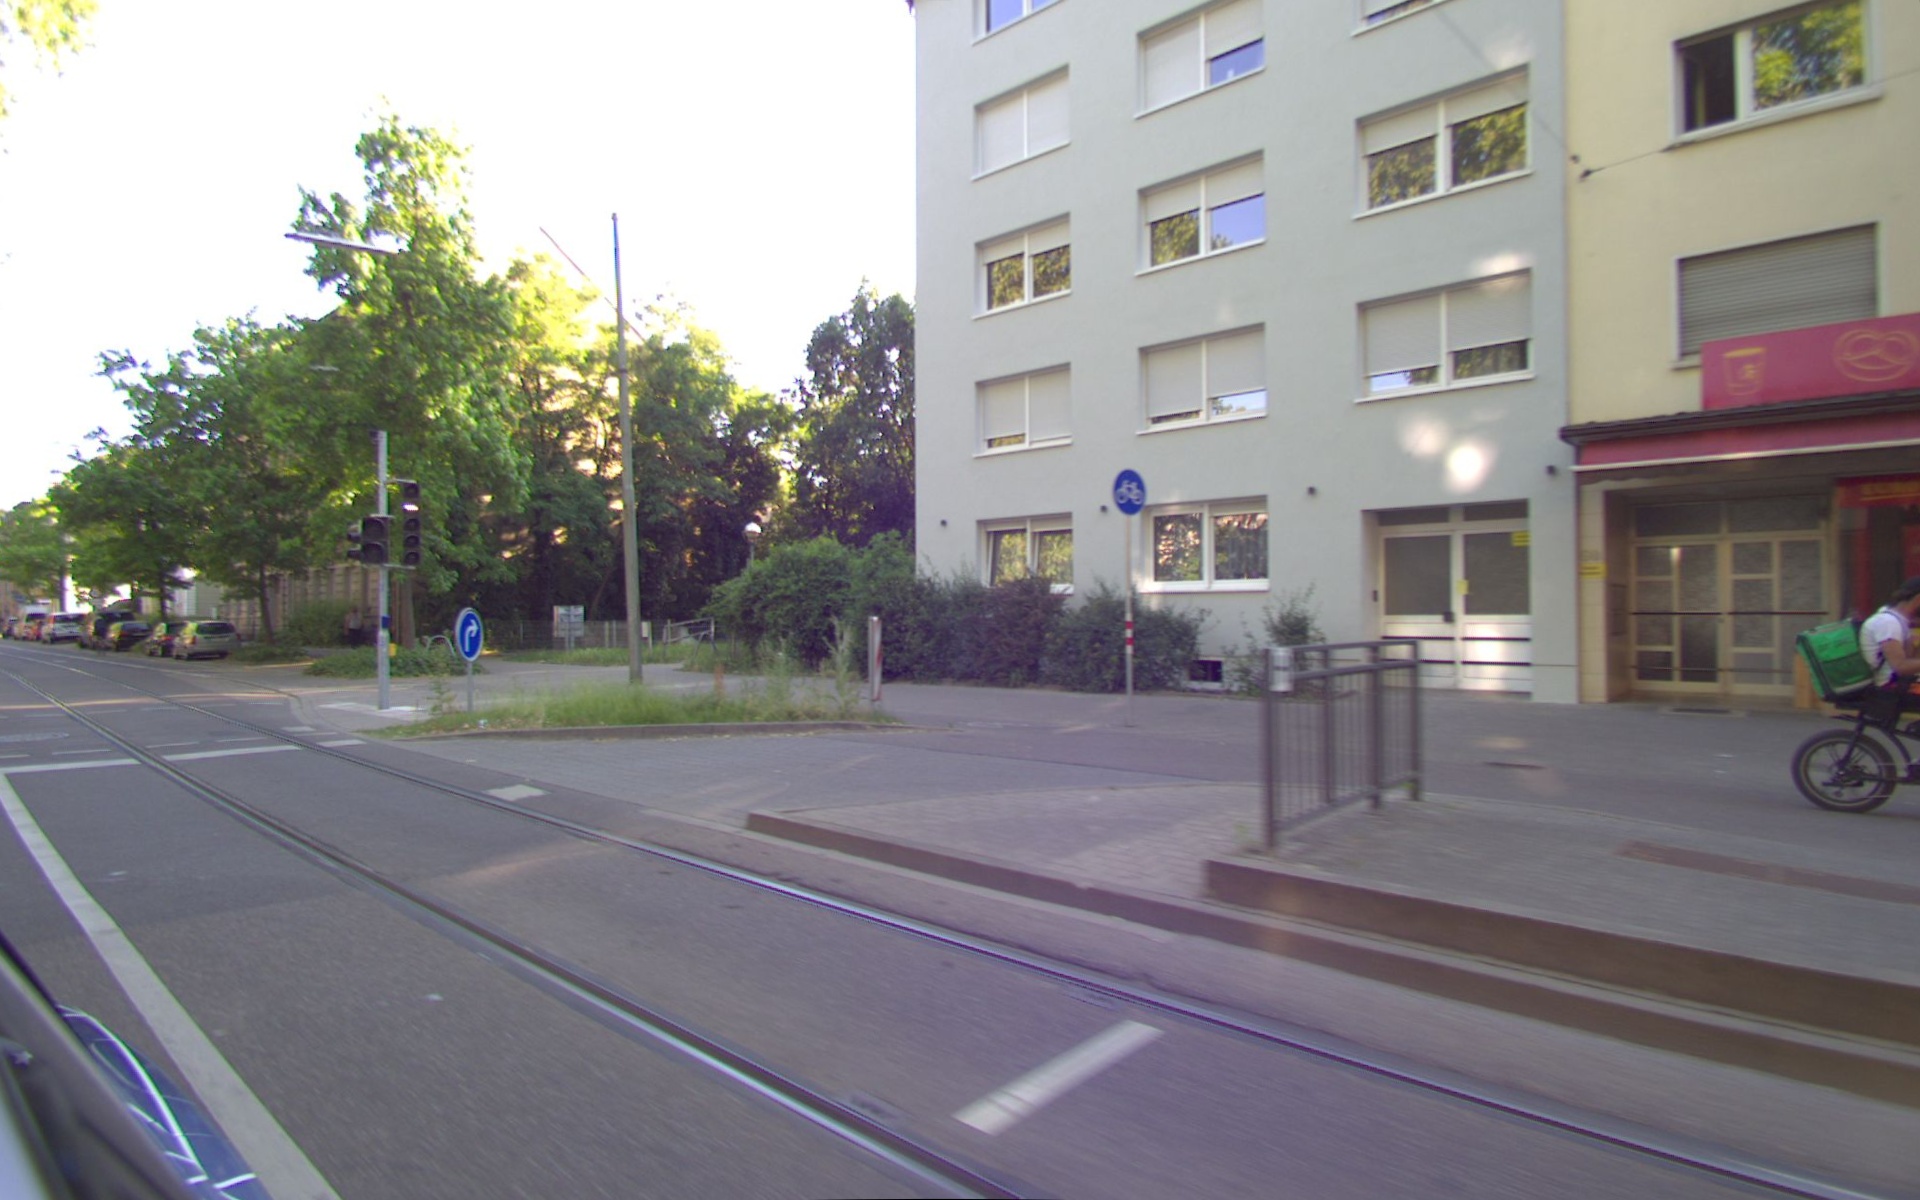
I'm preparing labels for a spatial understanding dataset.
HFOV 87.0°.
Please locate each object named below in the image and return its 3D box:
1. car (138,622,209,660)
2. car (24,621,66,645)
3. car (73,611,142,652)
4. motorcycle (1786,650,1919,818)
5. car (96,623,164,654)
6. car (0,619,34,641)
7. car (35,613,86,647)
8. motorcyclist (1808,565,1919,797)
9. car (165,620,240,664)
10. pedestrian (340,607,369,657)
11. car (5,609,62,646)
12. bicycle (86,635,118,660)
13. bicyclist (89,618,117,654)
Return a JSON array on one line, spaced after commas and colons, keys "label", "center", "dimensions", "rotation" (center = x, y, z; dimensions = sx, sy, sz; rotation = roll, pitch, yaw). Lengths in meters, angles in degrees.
[{"label": "car", "center": [-33.006, 1.693, 42.432], "dimensions": [3.947, 1.456, 1.641], "rotation": [-1, -1, 41]}, {"label": "car", "center": [-62.723, 2.242, 69.353], "dimensions": [3.705, 1.551, 1.667], "rotation": [-1, -2, 41]}, {"label": "car", "center": [-44.624, 1.640, 52.928], "dimensions": [4.831, 2.029, 1.973], "rotation": [-1, -2, 40]}, {"label": "motorcycle", "center": [6.463, 0.859, 6.404], "dimensions": [1.877, 1.040, 0.589], "rotation": [-1, -3, 42]}, {"label": "car", "center": [-40.598, 1.853, 49.479], "dimensions": [4.267, 1.469, 1.834], "rotation": [-1, -2, 40]}, {"label": "car", "center": [-73.446, 2.306, 78.633], "dimensions": [4.262, 1.703, 1.970], "rotation": [-1, -2, 44]}, {"label": "car", "center": [-55.409, 1.825, 62.329], "dimensions": [4.987, 2.004, 1.824], "rotation": [-1, -2, 42]}, {"label": "motorcyclist", "center": [6.278, 0.522, 6.605], "dimensions": [1.104, 1.460, 0.589], "rotation": [-1, -3, 42]}, {"label": "car", "center": [-29.354, 1.580, 39.171], "dimensions": [4.538, 1.562, 1.680], "rotation": [-1, -1, 45]}, {"label": "pedestrian", "center": [-23.196, 1.229, 38.772], "dimensions": [0.728, 1.861, 0.734], "rotation": [-1, 0, 40]}, {"label": "car", "center": [-66.498, 1.954, 72.617], "dimensions": [5.339, 2.527, 2.281], "rotation": [-1, -2, 40]}, {"label": "bicycle", "center": [-36.440, 2.013, 42.966], "dimensions": [2.100, 0.994, 0.634], "rotation": [-1, -7, 41]}, {"label": "bicyclist", "center": [-36.540, 1.515, 43.145], "dimensions": [0.836, 1.466, 0.634], "rotation": [-1, -7, 41]}]
